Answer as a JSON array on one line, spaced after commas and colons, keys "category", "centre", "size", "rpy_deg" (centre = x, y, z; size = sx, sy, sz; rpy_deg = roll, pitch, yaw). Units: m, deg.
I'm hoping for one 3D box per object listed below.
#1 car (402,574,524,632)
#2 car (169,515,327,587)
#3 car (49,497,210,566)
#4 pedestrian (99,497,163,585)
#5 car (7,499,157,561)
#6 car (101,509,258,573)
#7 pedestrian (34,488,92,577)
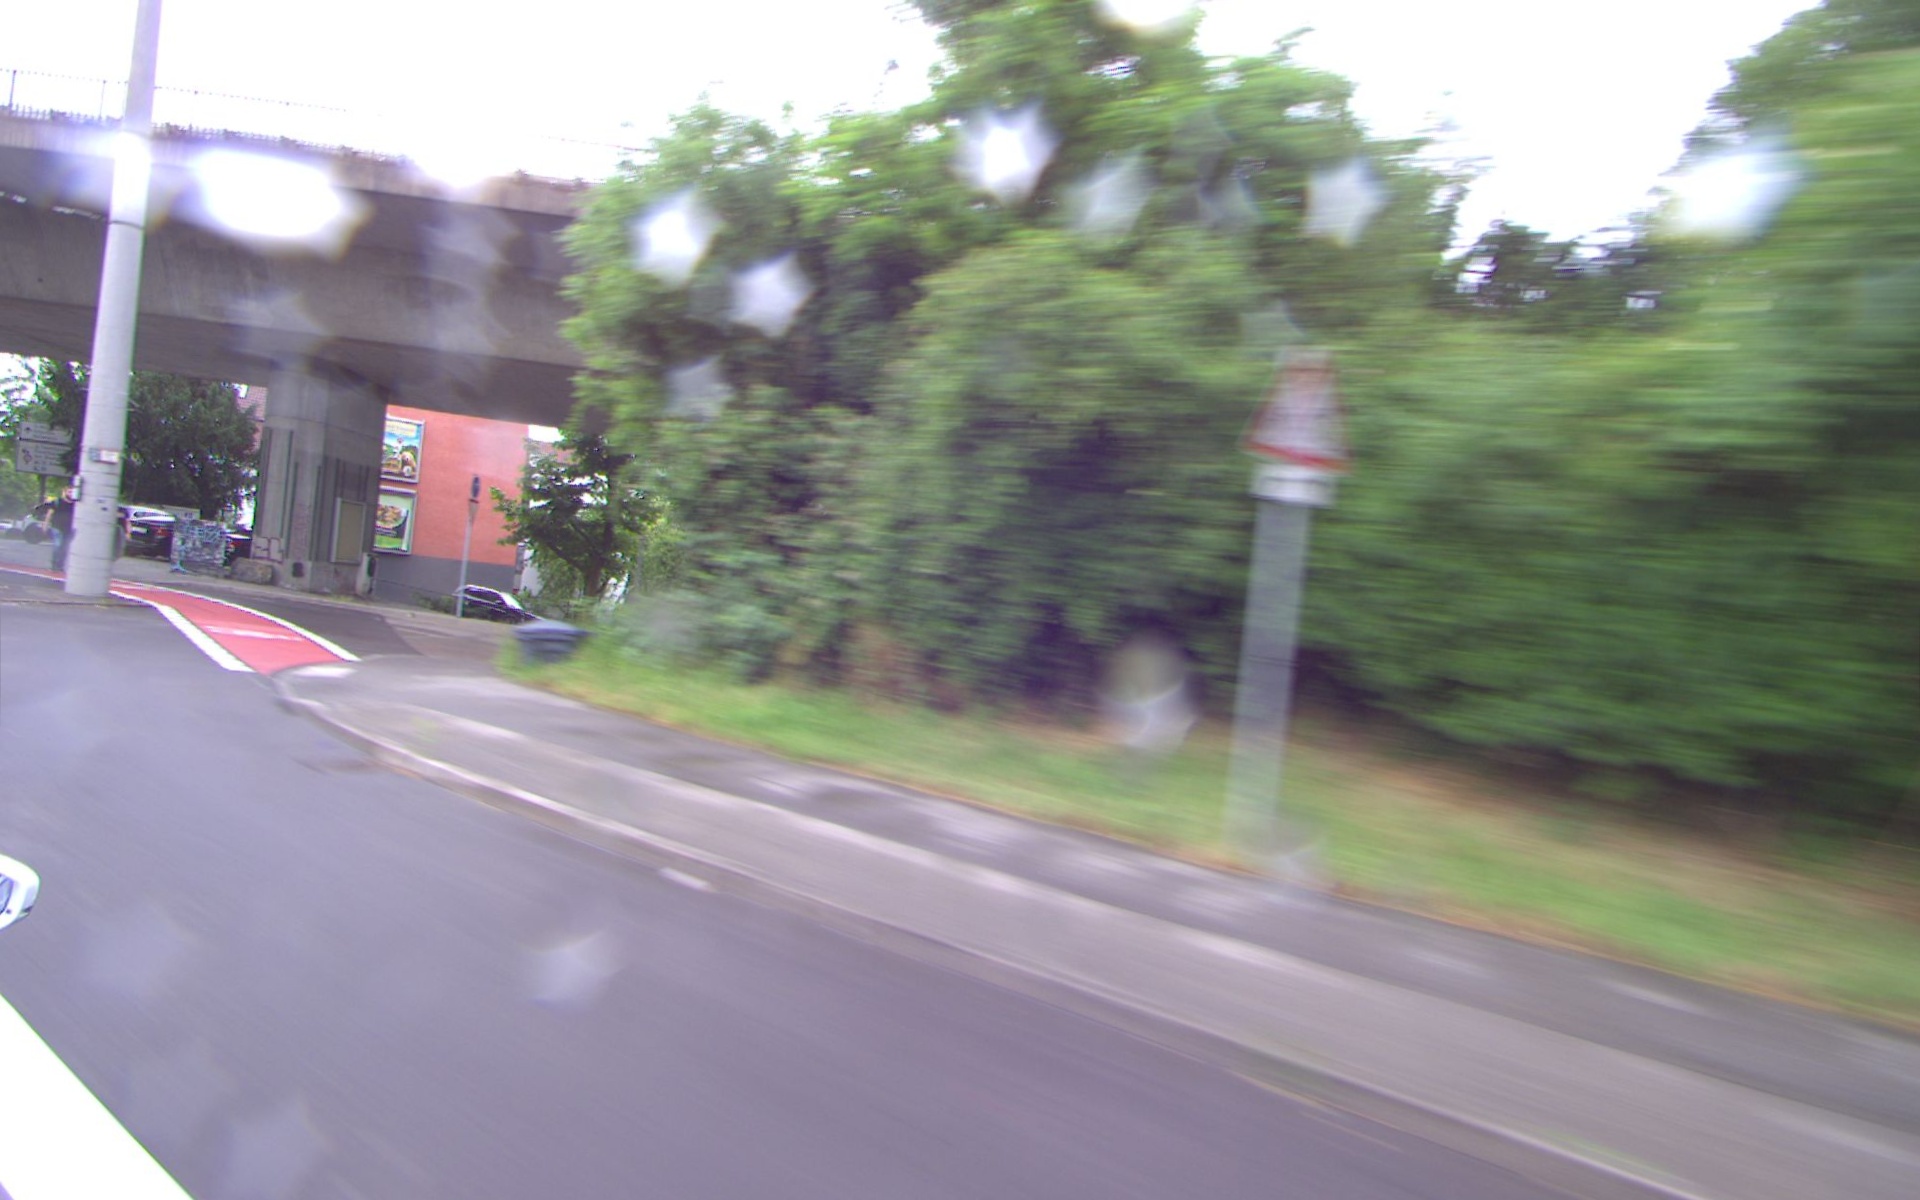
[{"category": "car", "centre": [-19.925, 0.137, 40.383], "size": [3.968, 1.613, 1.982], "rpy_deg": [11, -3, -35]}, {"category": "car", "centre": [-22.078, -1.449, 31.423], "size": [1.870, 1.589, 4.005], "rpy_deg": [7, -3, 1]}, {"category": "car", "centre": [-27.528, -2.215, 33.537], "size": [1.931, 1.650, 4.025], "rpy_deg": [7, -2, -2]}, {"category": "pedestrian", "centre": [-18.810, -1.334, 22.820], "size": [0.893, 1.842, 0.599], "rpy_deg": [6, -2, 25]}, {"category": "car", "centre": [-29.900, -2.338, 34.426], "size": [1.770, 1.539, 3.737], "rpy_deg": [7, -2, -2]}, {"category": "car", "centre": [-24.716, -1.829, 32.060], "size": [1.754, 1.456, 4.051], "rpy_deg": [7, -2, -2]}, {"category": "pedestrian", "centre": [-19.506, -1.463, 21.874], "size": [0.824, 1.828, 0.626], "rpy_deg": [5, -3, 38]}]
